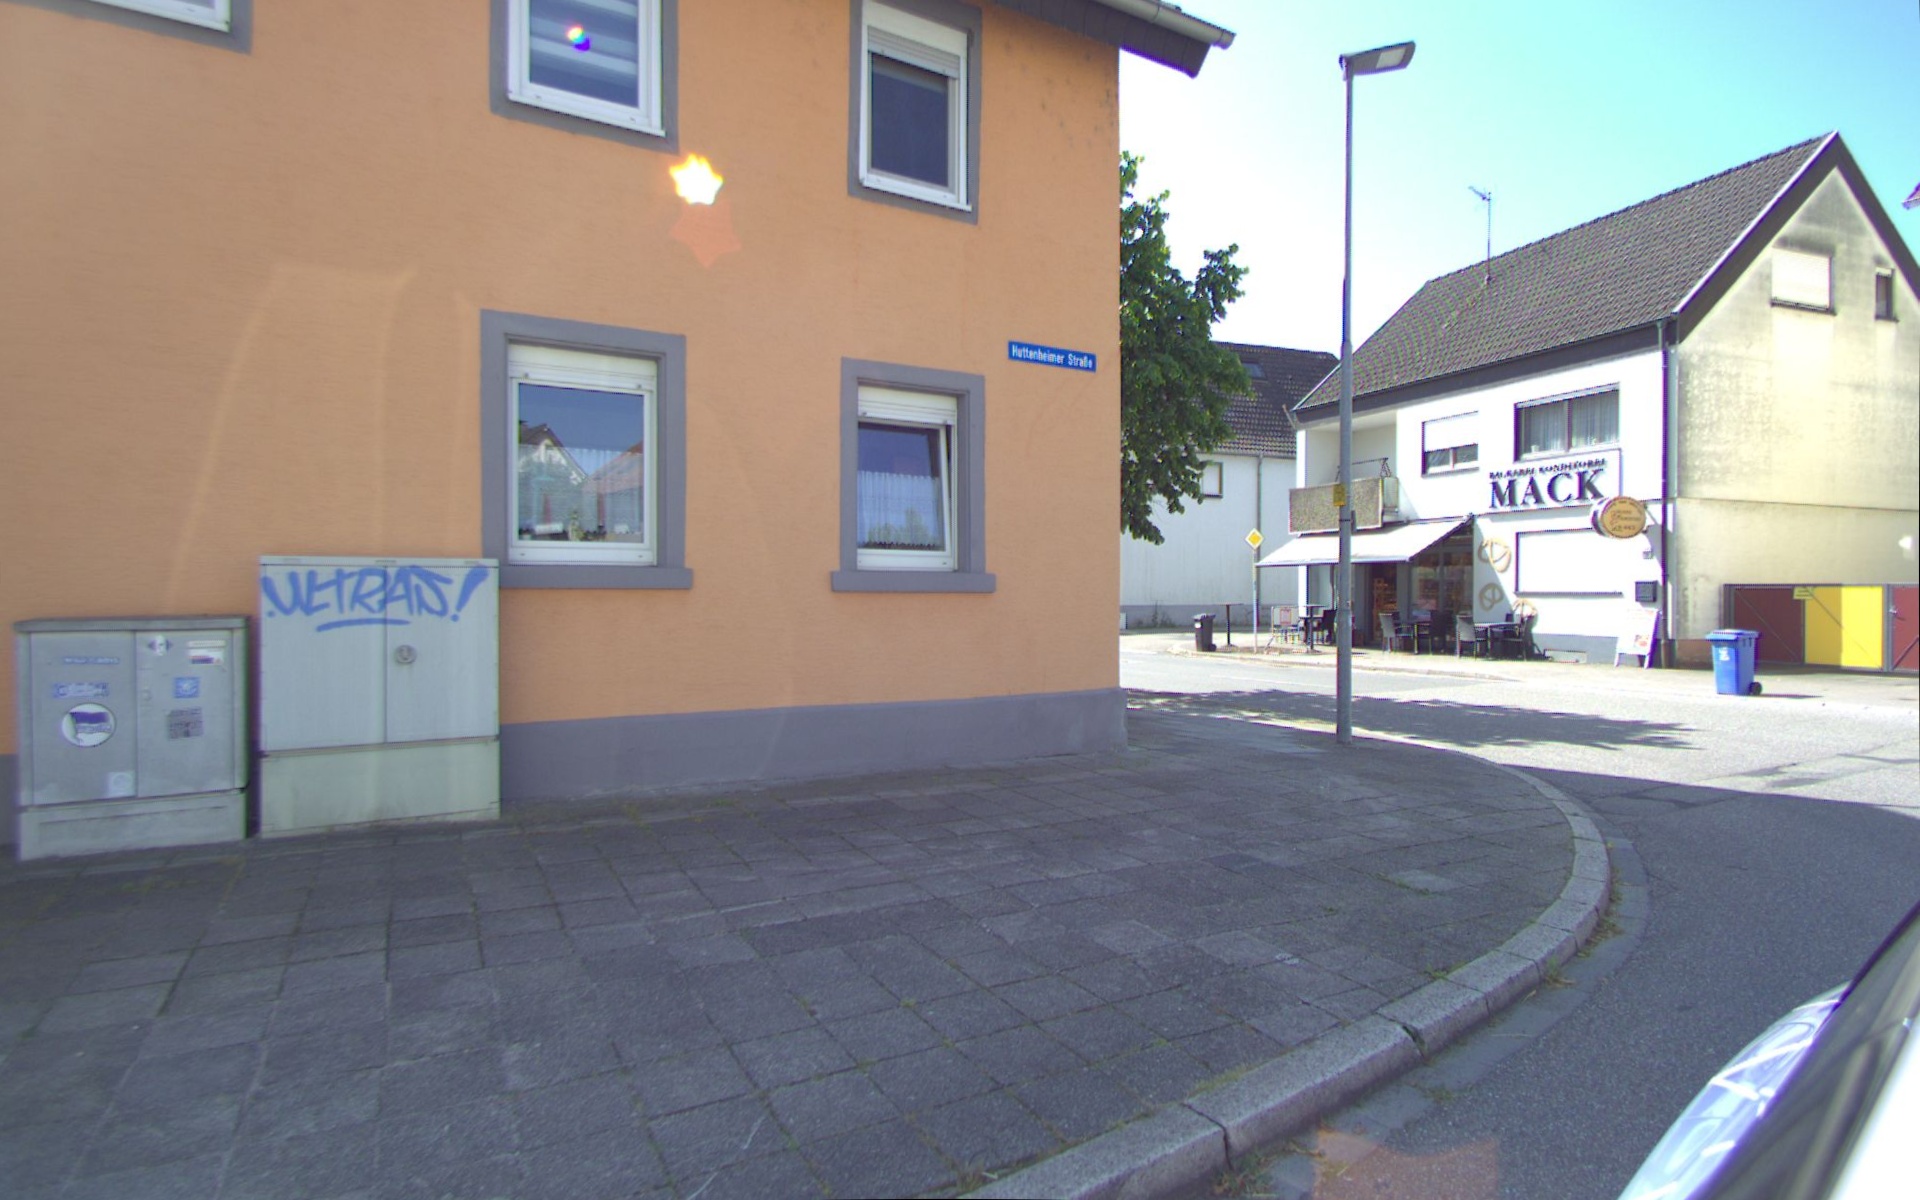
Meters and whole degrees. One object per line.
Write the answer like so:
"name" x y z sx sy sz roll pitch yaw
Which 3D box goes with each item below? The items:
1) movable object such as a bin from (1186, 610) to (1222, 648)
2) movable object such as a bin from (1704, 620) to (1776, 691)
"movable object such as a bin" 6.148 0.725 25.538 0.632 0.936 0.614 -1 0 -30
"movable object such as a bin" 11.495 0.801 14.920 0.631 0.993 0.614 -1 0 -28
